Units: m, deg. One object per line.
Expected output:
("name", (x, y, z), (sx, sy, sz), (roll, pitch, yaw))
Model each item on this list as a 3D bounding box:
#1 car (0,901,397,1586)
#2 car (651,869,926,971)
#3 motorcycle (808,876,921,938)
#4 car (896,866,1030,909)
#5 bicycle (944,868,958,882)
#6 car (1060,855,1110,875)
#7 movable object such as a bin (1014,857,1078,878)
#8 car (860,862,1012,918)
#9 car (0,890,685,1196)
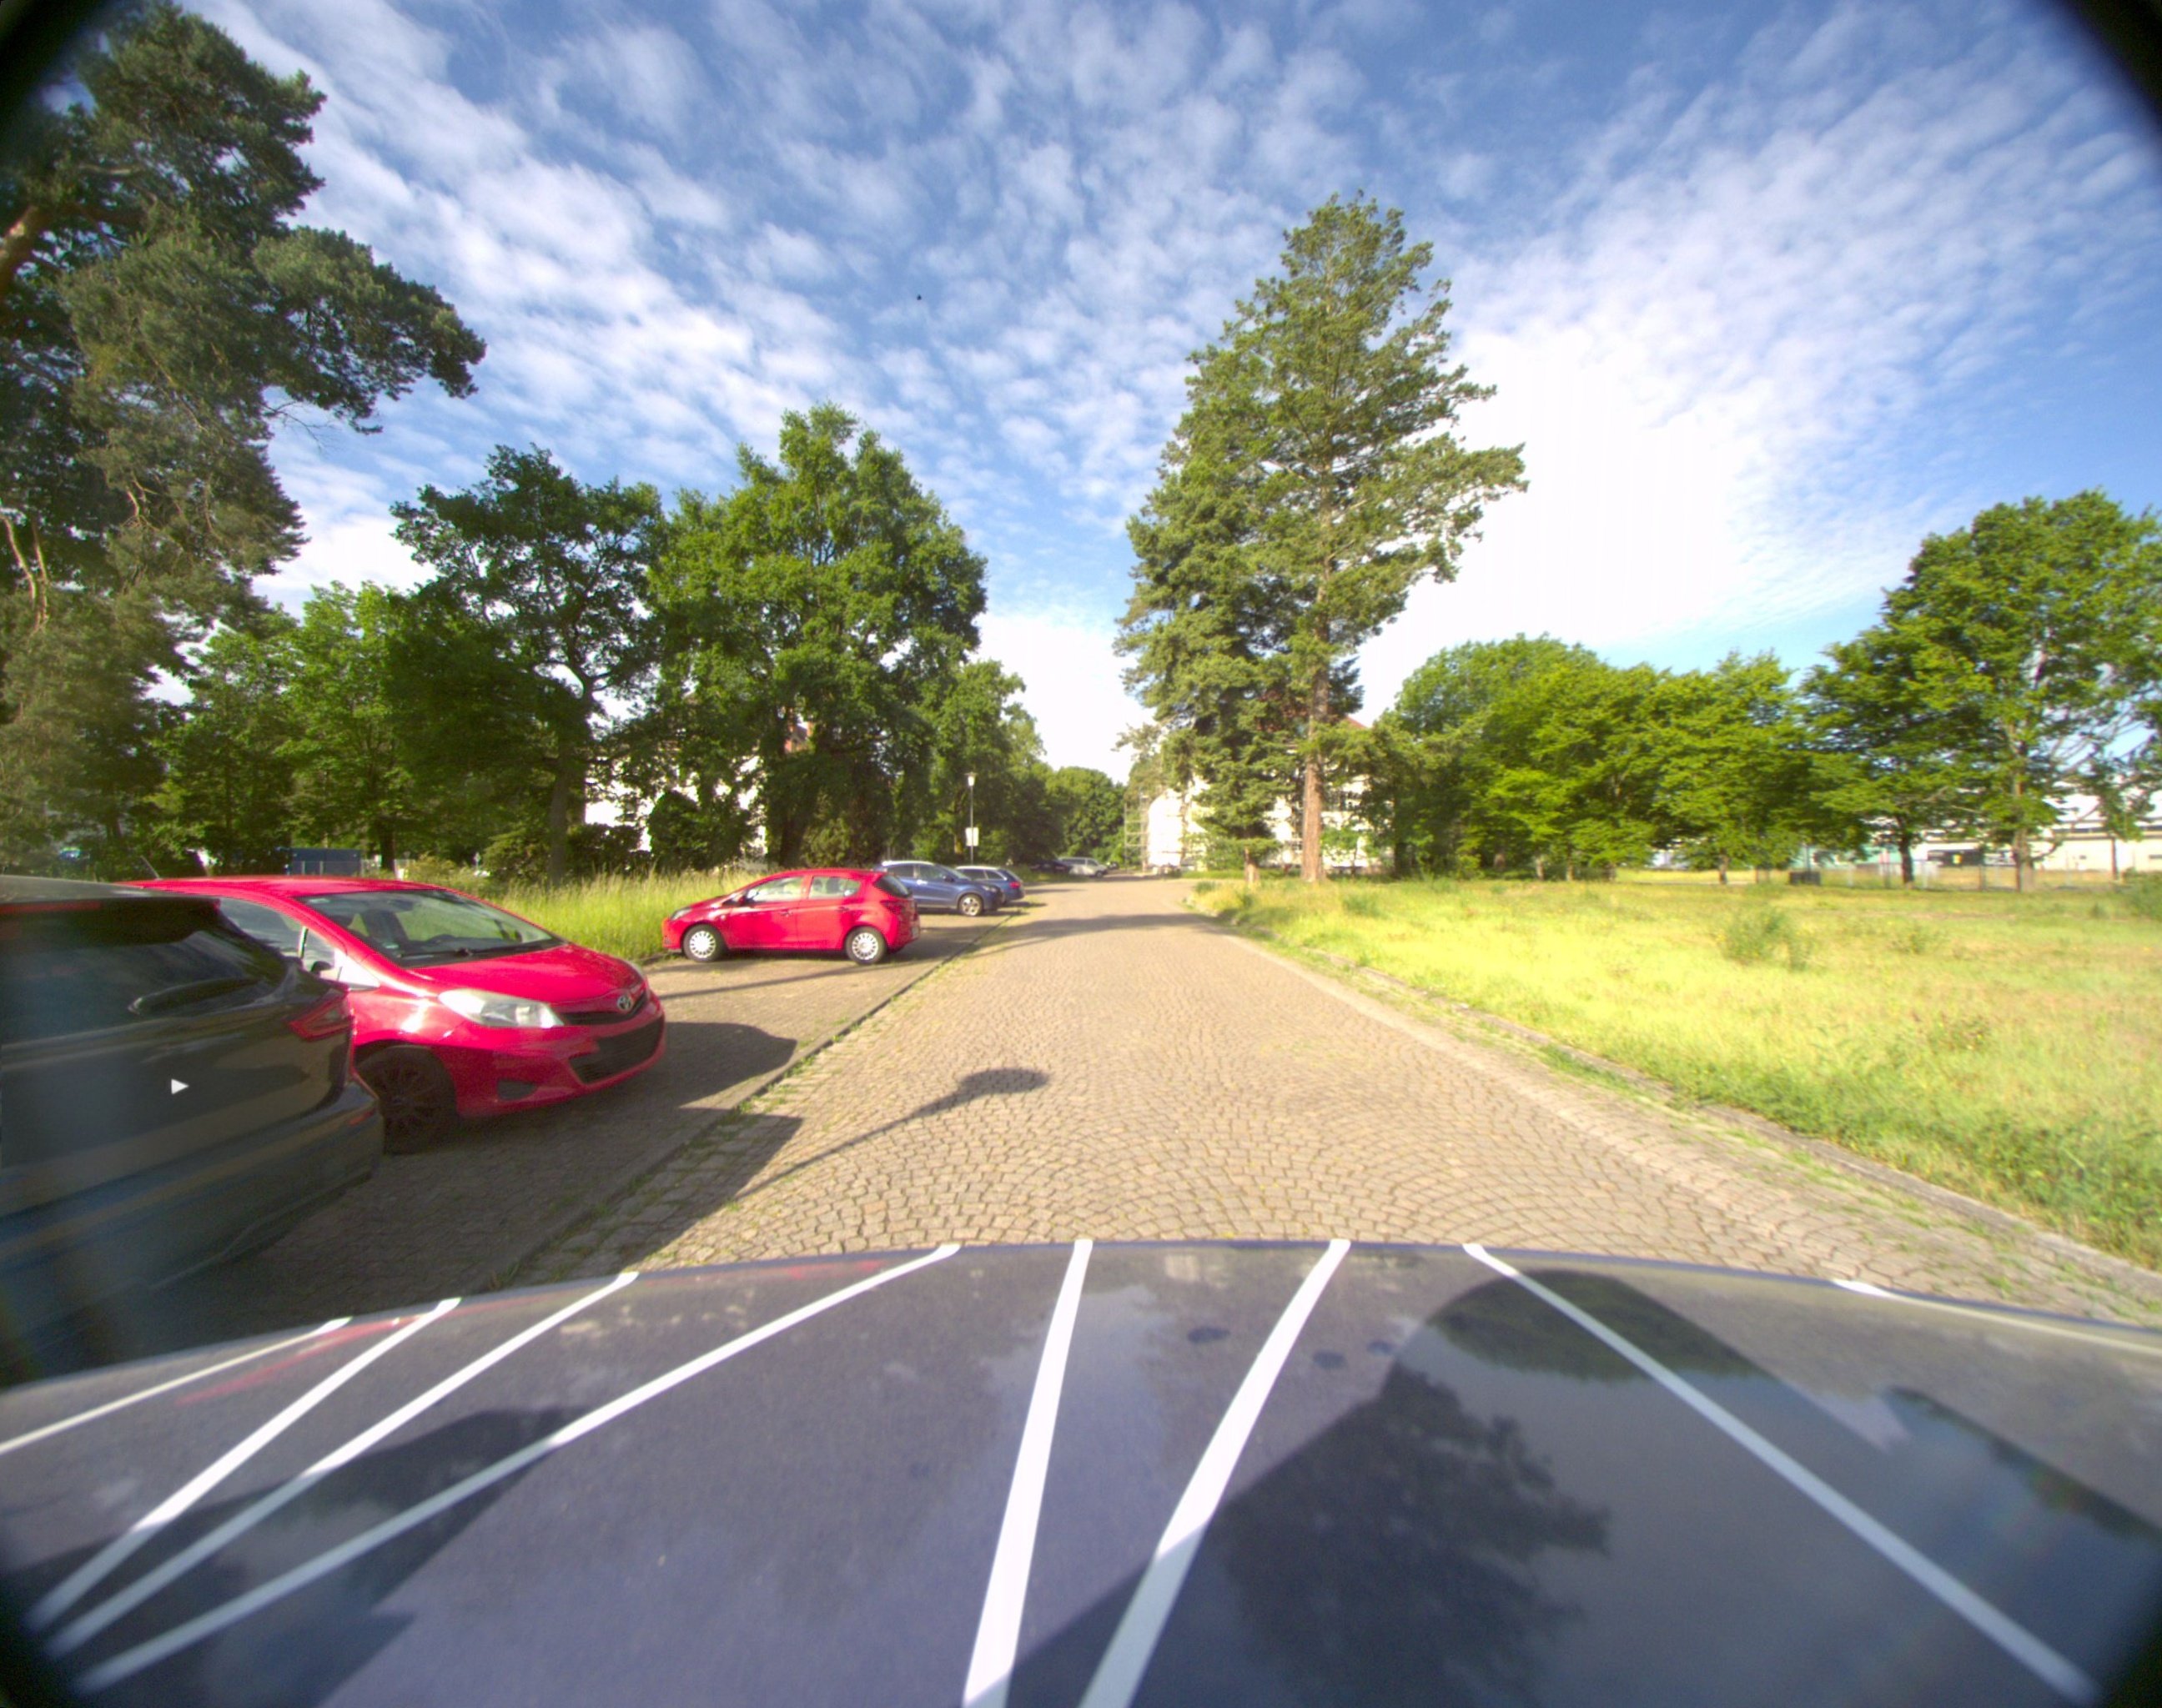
("car", (-4.613, 0.989, 2.021), (3.946, 1.612, 1.772), (0, 0, -1))
("car", (-4.618, 1.027, 12.395), (3.837, 1.470, 1.645), (1, 0, -1))
("motorcycle", (-4.801, 1.158, 16.933), (2.305, 1.312, 0.726), (1, 0, 0))
("car", (-4.186, 1.181, 27.407), (4.459, 1.399, 1.714), (1, 0, 3))
("bicycle", (-9.572, 1.532, 56.017), (0.710, 1.010, 1.257), (0, 0, 8))
("car", (0.395, 1.070, 76.097), (4.936, 2.002, 2.000), (0, 0, 1))
("movable object such as a bin", (-2.909, 1.132, 63.228), (4.931, 1.749, 2.002), (0, 0, 15))
("car", (-4.234, 1.050, 22.682), (4.187, 1.581, 1.751), (0, 0, 0))
("car", (-4.817, 1.026, 4.790), (3.772, 1.521, 1.645), (0, 0, 1))
